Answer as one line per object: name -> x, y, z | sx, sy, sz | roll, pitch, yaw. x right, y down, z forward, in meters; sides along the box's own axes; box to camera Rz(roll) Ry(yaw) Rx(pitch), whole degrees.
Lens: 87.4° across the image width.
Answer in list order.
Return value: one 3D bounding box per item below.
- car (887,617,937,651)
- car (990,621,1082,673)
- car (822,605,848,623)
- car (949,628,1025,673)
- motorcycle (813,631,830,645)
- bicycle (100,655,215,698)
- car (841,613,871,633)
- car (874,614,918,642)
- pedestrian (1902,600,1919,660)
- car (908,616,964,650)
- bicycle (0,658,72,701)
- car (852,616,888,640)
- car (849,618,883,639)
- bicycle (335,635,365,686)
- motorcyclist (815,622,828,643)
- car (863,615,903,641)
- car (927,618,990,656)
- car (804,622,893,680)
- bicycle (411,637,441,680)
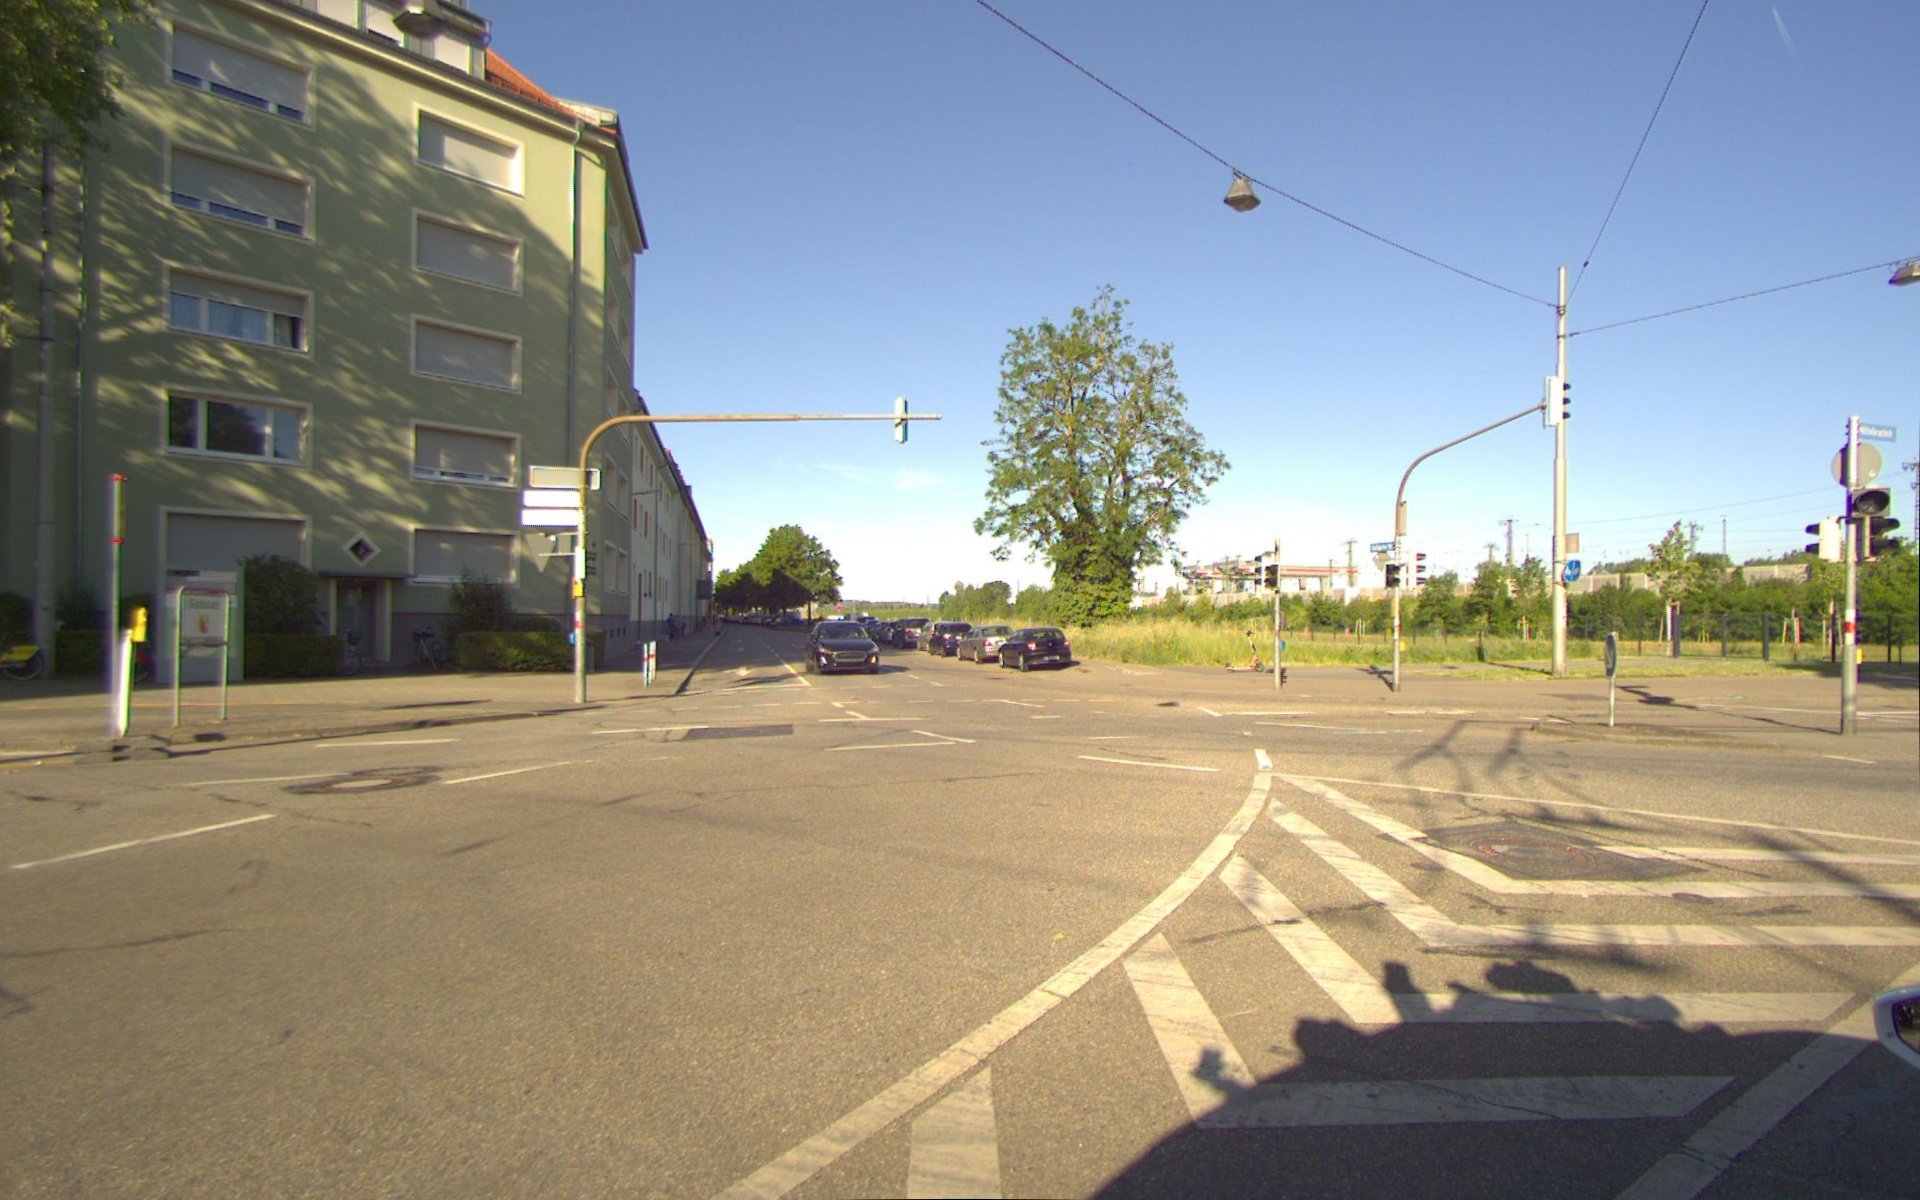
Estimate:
car -> -2.737, 1.873, 56.565 | 1.862, 1.589, 3.988 | -6, 1, -15
car -> 2.531, 1.569, 34.497 | 1.862, 1.438, 3.988 | -6, 1, -15
car -> -12.096, 1.356, 97.204 | 1.862, 1.438, 3.988 | -6, 1, -15
car -> 1.009, 1.951, 39.947 | 1.862, 1.438, 3.988 | -6, 1, -15
motorcycle -> -9.627, 2.606, 69.783 | 0.721, 0.882, 2.333 | 0, 0, -19
bicycle -> -16.113, 1.531, 20.208 | 0.353, 0.769, 1.771 | -1, -1, 41
car -> -8.791, 1.889, 84.577 | 1.862, 1.438, 3.988 | -6, 1, -15
car -> -4.000, 1.702, 62.235 | 1.862, 1.438, 3.988 | -6, 1, -15
pedestrian -> 26.643, 0.826, 27.752 | 0.673, 1.617, 0.599 | 0, 1, -14
car -> -1.251, 1.631, 50.836 | 1.862, 1.438, 3.988 | -6, 1, -15
bicycle -> -18.282, 1.532, 19.325 | 1.760, 0.769, 0.355 | 0, -1, -31
car -> -6.563, 2.018, 73.067 | 1.862, 1.438, 3.988 | -6, 1, -15
car -> -7.415, 2.207, 78.895 | 1.862, 1.438, 3.988 | -6, 1, -15
bicycle -> -15.121, 1.476, 24.883 | 0.356, 1.221, 1.493 | 0, -1, -43
motorcyclist -> -9.600, 2.229, 69.666 | 0.703, 1.453, 0.792 | 0, 1, -20
car -> -5.127, 1.828, 66.833 | 1.862, 1.438, 3.988 | -6, 1, -15
car -> -0.114, 1.655, 46.380 | 1.862, 1.438, 3.988 | -6, 1, -15
car -> -3.241, 1.392, 28.560 | 1.966, 1.439, 3.988 | -1, 0, -15
bicycle -> -14.556, 1.581, 27.363 | 0.356, 1.102, 1.493 | 0, -1, -43
